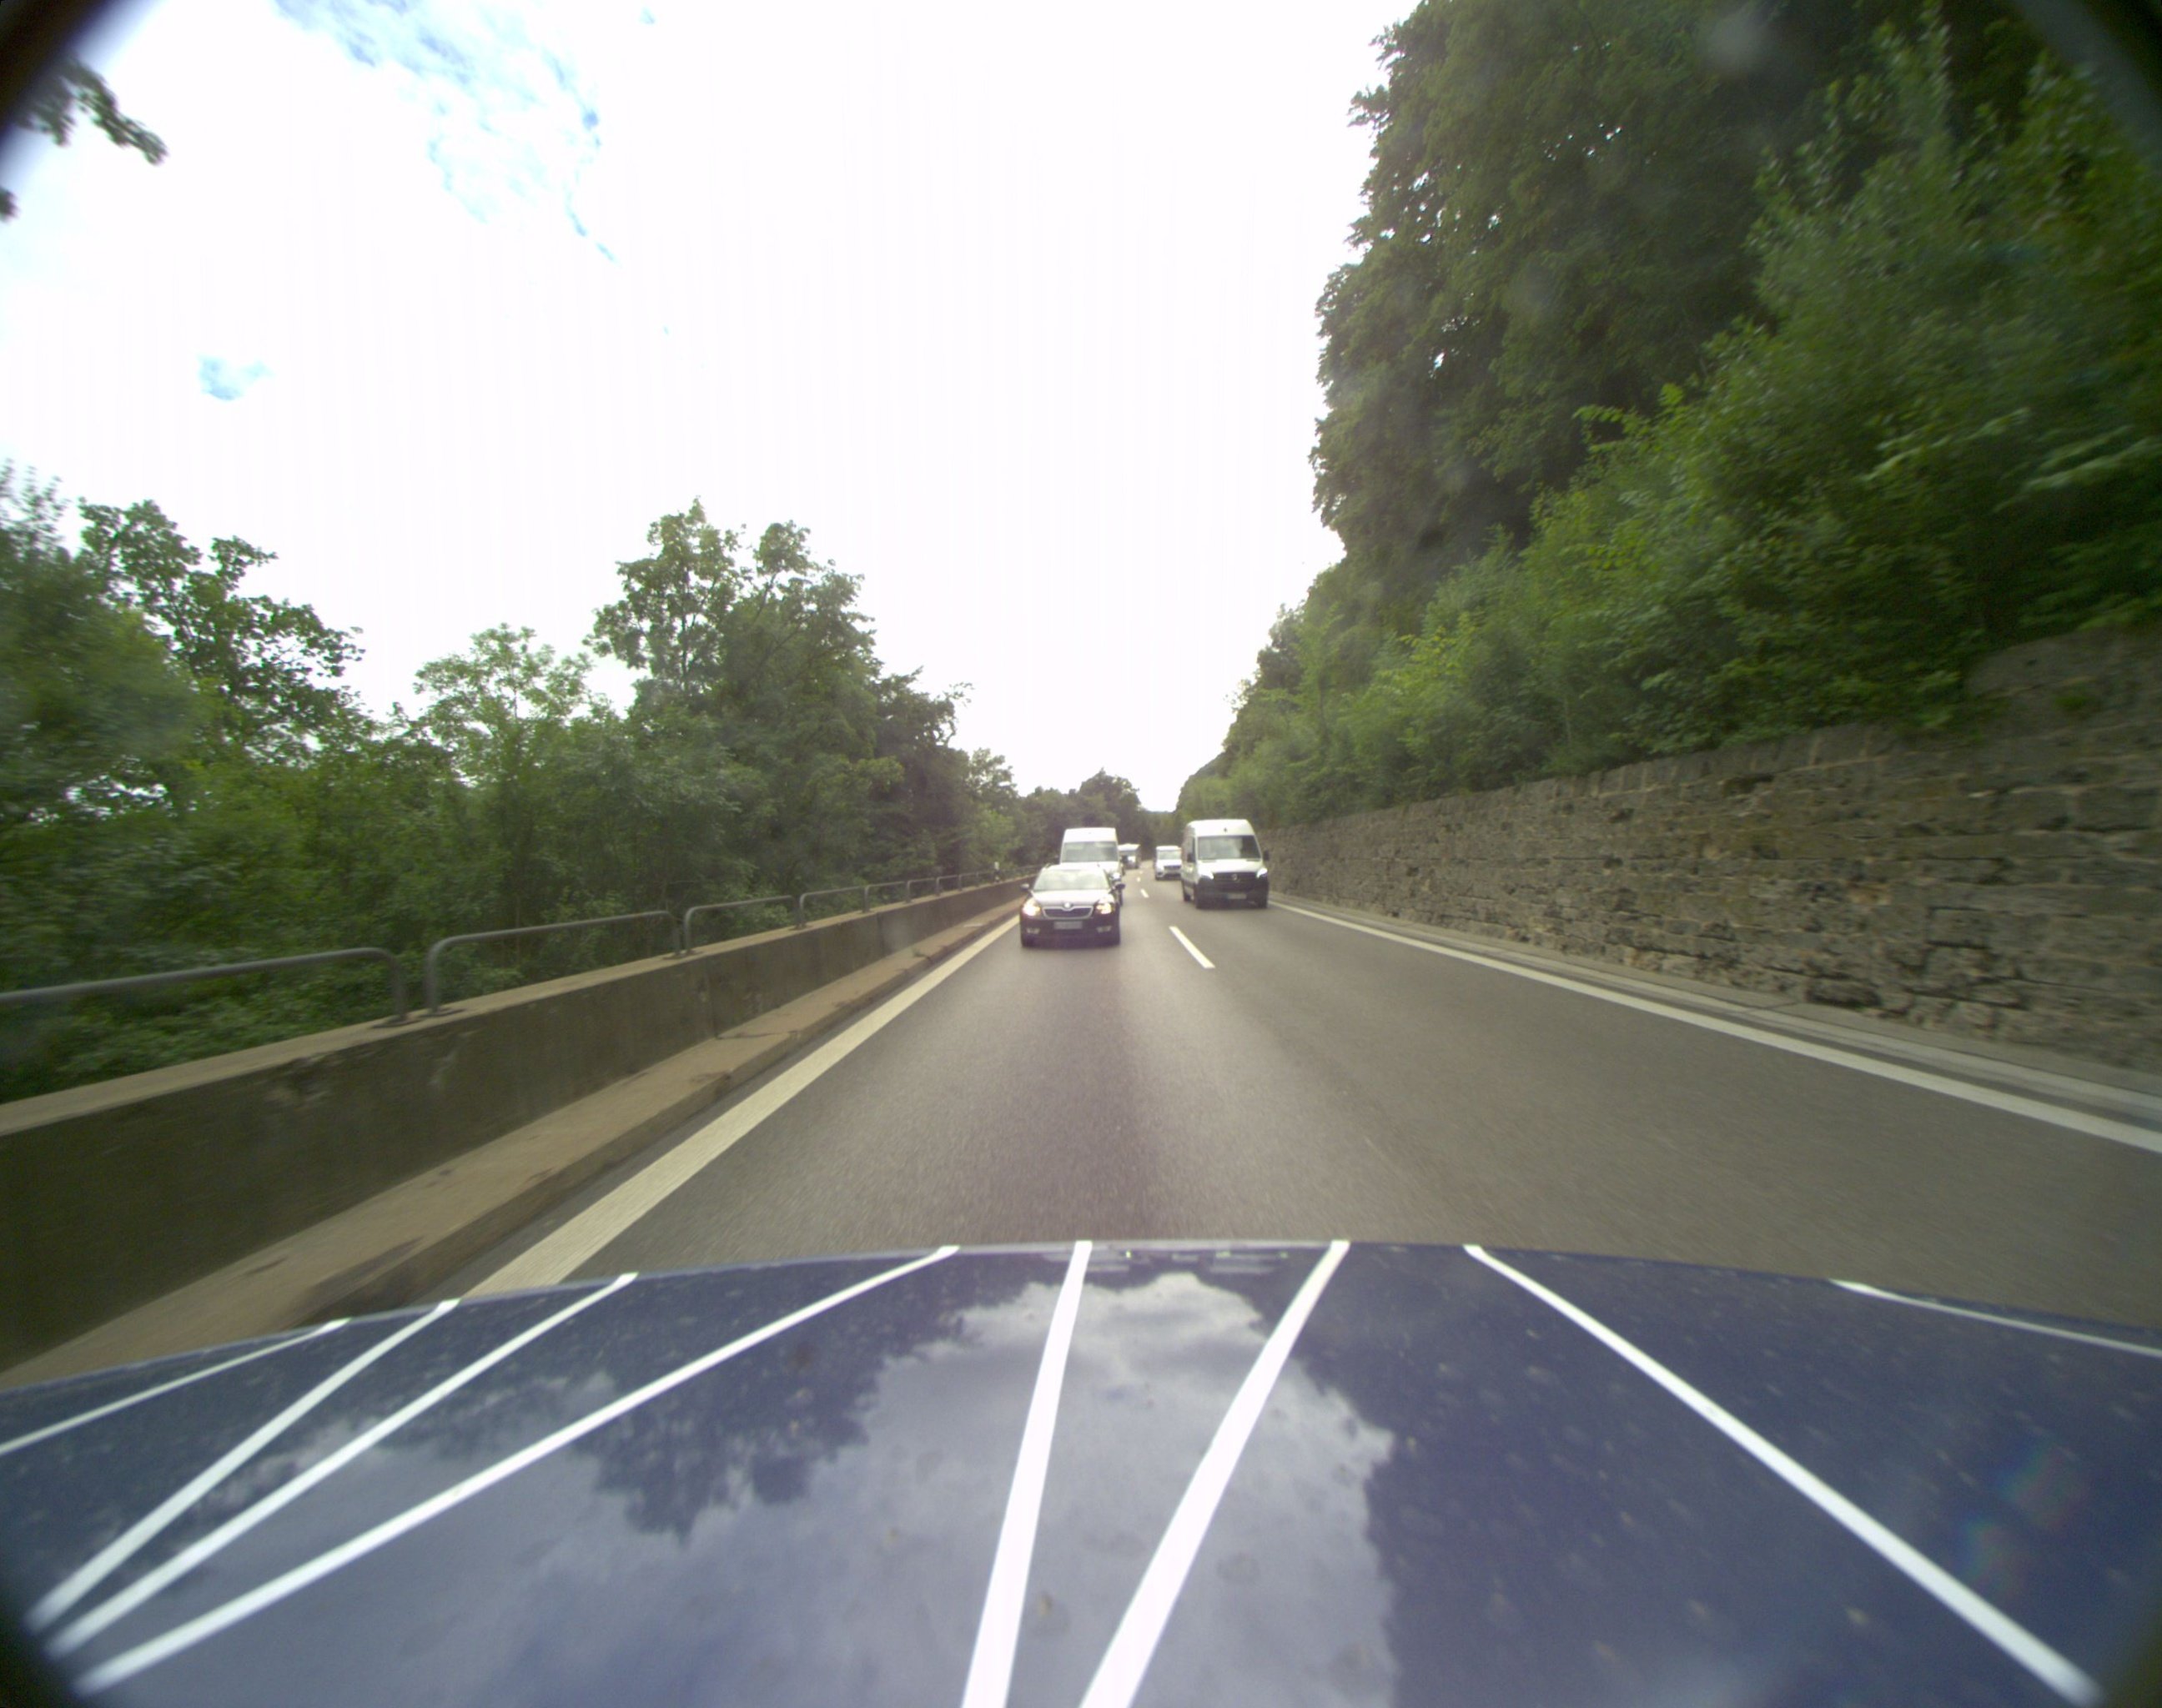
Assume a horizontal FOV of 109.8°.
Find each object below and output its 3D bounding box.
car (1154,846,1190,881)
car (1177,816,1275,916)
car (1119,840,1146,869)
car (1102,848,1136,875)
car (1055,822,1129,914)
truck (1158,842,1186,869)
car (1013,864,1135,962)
[{"bbox_3d":[5.621,0.527,47.415,1.998,1.941,6.150,-3,0,6],"label":"car"},{"bbox_3d":[4.238,0.294,23.344,2.031,2.570,6.275,-2,1,3],"label":"car"},{"bbox_3d":[5.669,0.015,83.441,2.275,2.941,7.190,-2,1,8],"label":"car"},{"bbox_3d":[3.034,0.577,59.656,1.997,1.871,4.002,-2,1,11],"label":"car"},{"bbox_3d":[0.411,0.383,24.505,1.998,2.550,5.918,-2,1,2],"label":"car"},{"bbox_3d":[8.331,0.119,69.075,1.997,2.266,6.590,-3,0,10],"label":"truck"},{"bbox_3d":[-0.245,1.004,15.249,1.913,1.391,5.695,-4,0,-3],"label":"car"}]
